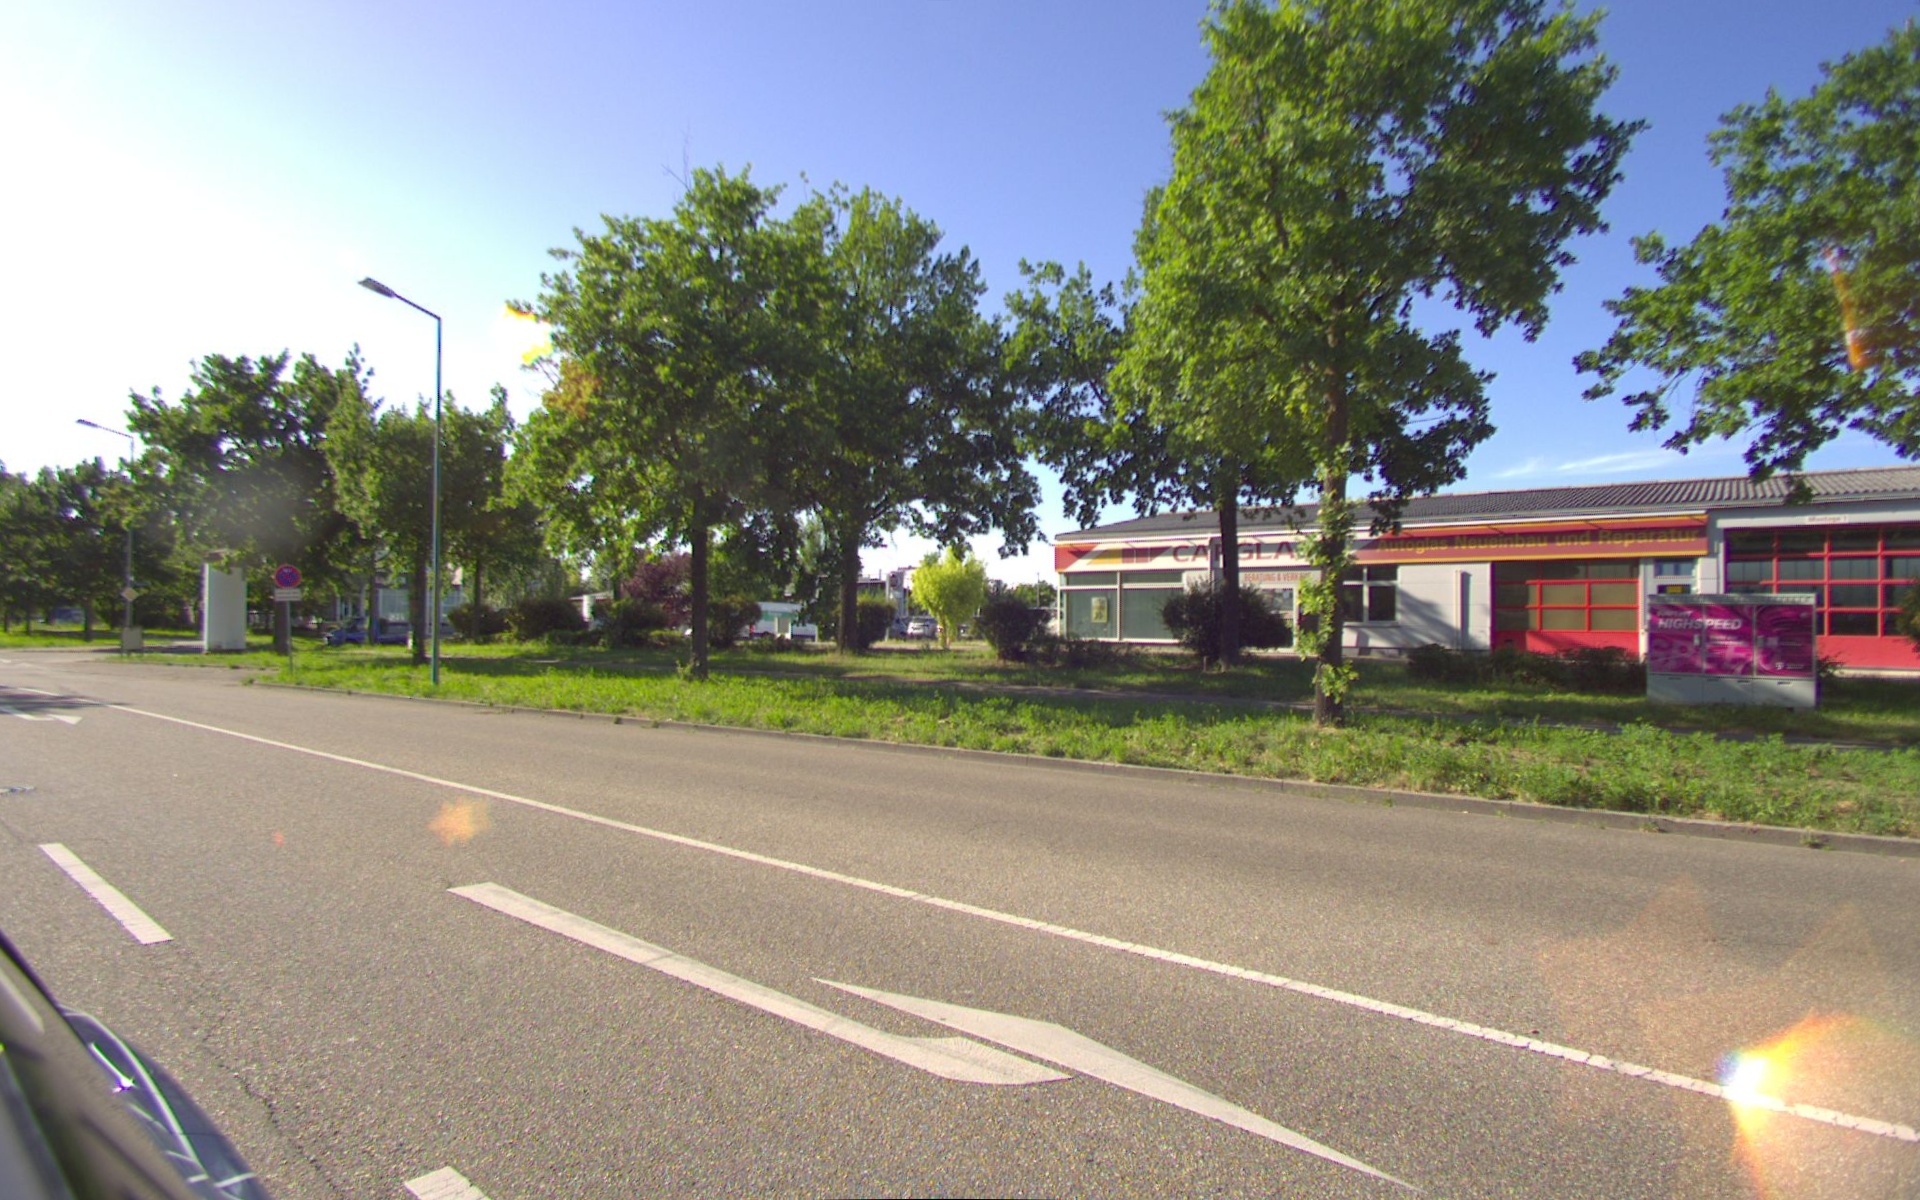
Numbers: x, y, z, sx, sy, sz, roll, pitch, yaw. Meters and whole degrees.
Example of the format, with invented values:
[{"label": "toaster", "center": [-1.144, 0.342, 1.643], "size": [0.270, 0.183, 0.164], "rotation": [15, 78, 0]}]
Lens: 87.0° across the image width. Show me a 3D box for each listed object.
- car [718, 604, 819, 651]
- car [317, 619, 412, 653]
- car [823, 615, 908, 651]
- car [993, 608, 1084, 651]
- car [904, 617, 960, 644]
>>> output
[{"label": "car", "center": [-11.461, 1.590, 61.006], "size": [2.406, 2.574, 5.952], "rotation": [-1, 0, 36]}, {"label": "car", "center": [-35.980, 2.149, 61.240], "size": [1.999, 1.847, 4.578], "rotation": [-1, 0, 41]}, {"label": "car", "center": [-5.154, 1.760, 55.795], "size": [1.989, 1.795, 4.583], "rotation": [-1, 0, 40]}, {"label": "car", "center": [3.205, 1.149, 40.611], "size": [1.734, 1.583, 3.769], "rotation": [-3, -1, 40]}, {"label": "car", "center": [-1.880, 2.042, 68.629], "size": [1.761, 1.684, 3.811], "rotation": [-1, 0, 40]}]
